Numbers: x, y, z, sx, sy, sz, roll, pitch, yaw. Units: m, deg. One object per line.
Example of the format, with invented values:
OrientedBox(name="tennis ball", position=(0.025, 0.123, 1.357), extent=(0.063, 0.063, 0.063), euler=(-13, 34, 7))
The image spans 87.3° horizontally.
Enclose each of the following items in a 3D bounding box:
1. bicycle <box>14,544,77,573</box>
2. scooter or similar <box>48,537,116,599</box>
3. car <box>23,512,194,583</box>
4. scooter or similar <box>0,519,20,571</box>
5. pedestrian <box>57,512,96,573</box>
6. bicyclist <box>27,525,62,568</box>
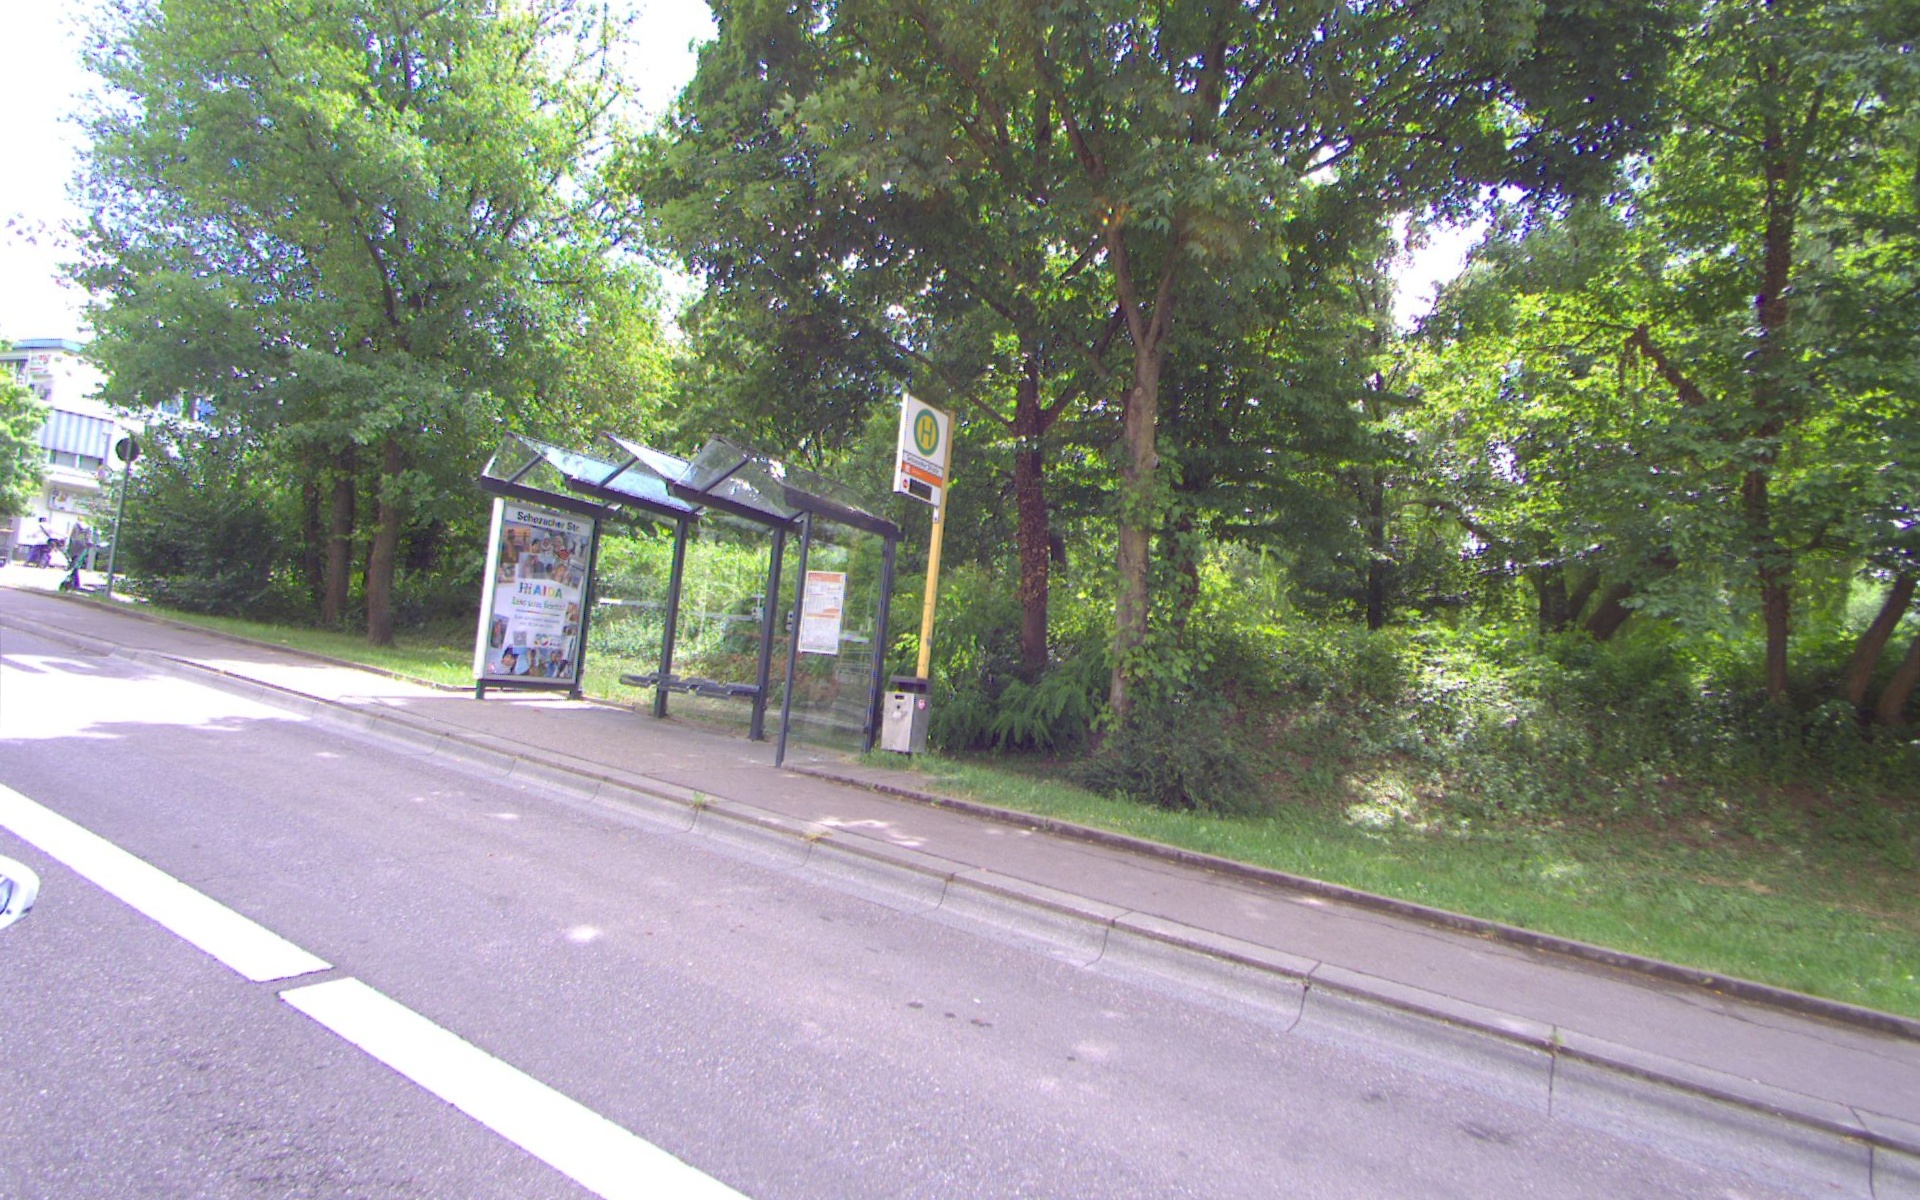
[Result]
OrientedBox(name="bicycle", position=(-26.678, -1.219, 29.347), extent=(1.560, 0.616, 0.535), euler=(7, -3, 15))
OrientedBox(name="scooter or similar", position=(-20.349, -0.726, 23.330), extent=(0.447, 1.242, 0.893), euler=(6, -6, 32))
OrientedBox(name="car", position=(-33.169, -1.995, 39.373), extent=(1.964, 2.036, 4.551), euler=(6, -2, 24))
OrientedBox(name="scooter or similar", position=(-24.911, -1.482, 25.658), extent=(0.546, 1.286, 1.153), euler=(6, -3, 34))
OrientedBox(name="pedestrian", position=(-26.488, -1.717, 30.168), extent=(0.653, 1.733, 0.458), euler=(8, -1, -32))
OrientedBox(name="bicyclist", position=(-26.738, -1.558, 29.385), extent=(0.392, 1.170, 0.503), euler=(7, -1, 16))
